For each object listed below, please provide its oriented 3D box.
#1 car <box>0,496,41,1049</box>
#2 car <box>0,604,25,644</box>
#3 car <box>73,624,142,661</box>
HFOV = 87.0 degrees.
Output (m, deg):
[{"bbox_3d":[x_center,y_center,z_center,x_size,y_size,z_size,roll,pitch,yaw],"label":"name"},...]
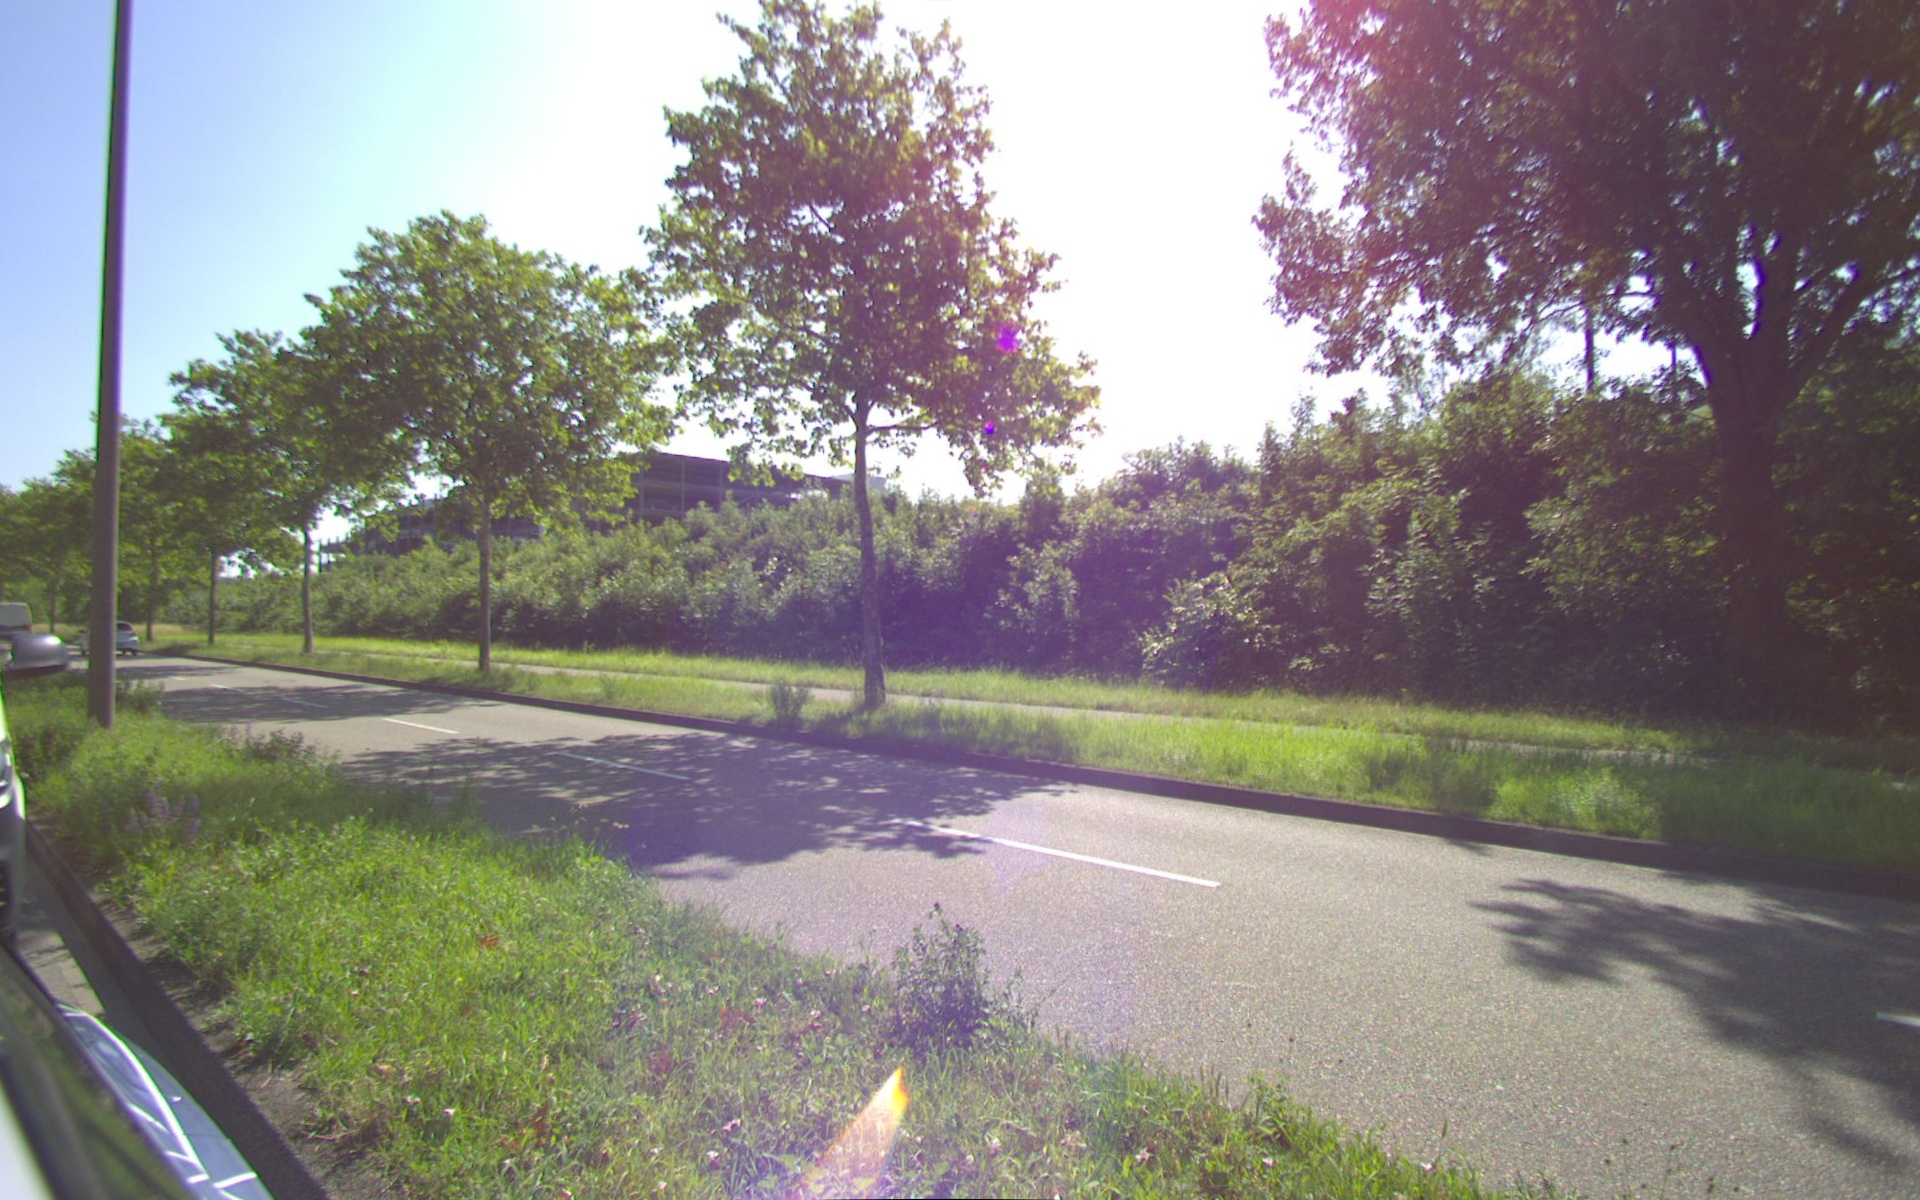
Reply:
[{"bbox_3d":[-5.703,0.608,4.477,4.879,1.915,1.848,-1,-2,41],"label":"car"},{"bbox_3d":[-65.473,1.631,68.939,5.783,2.683,1.973,-1,-3,41],"label":"car"},{"bbox_3d":[-36.924,1.819,43.808,3.998,1.519,1.682,-2,-3,41],"label":"car"}]
